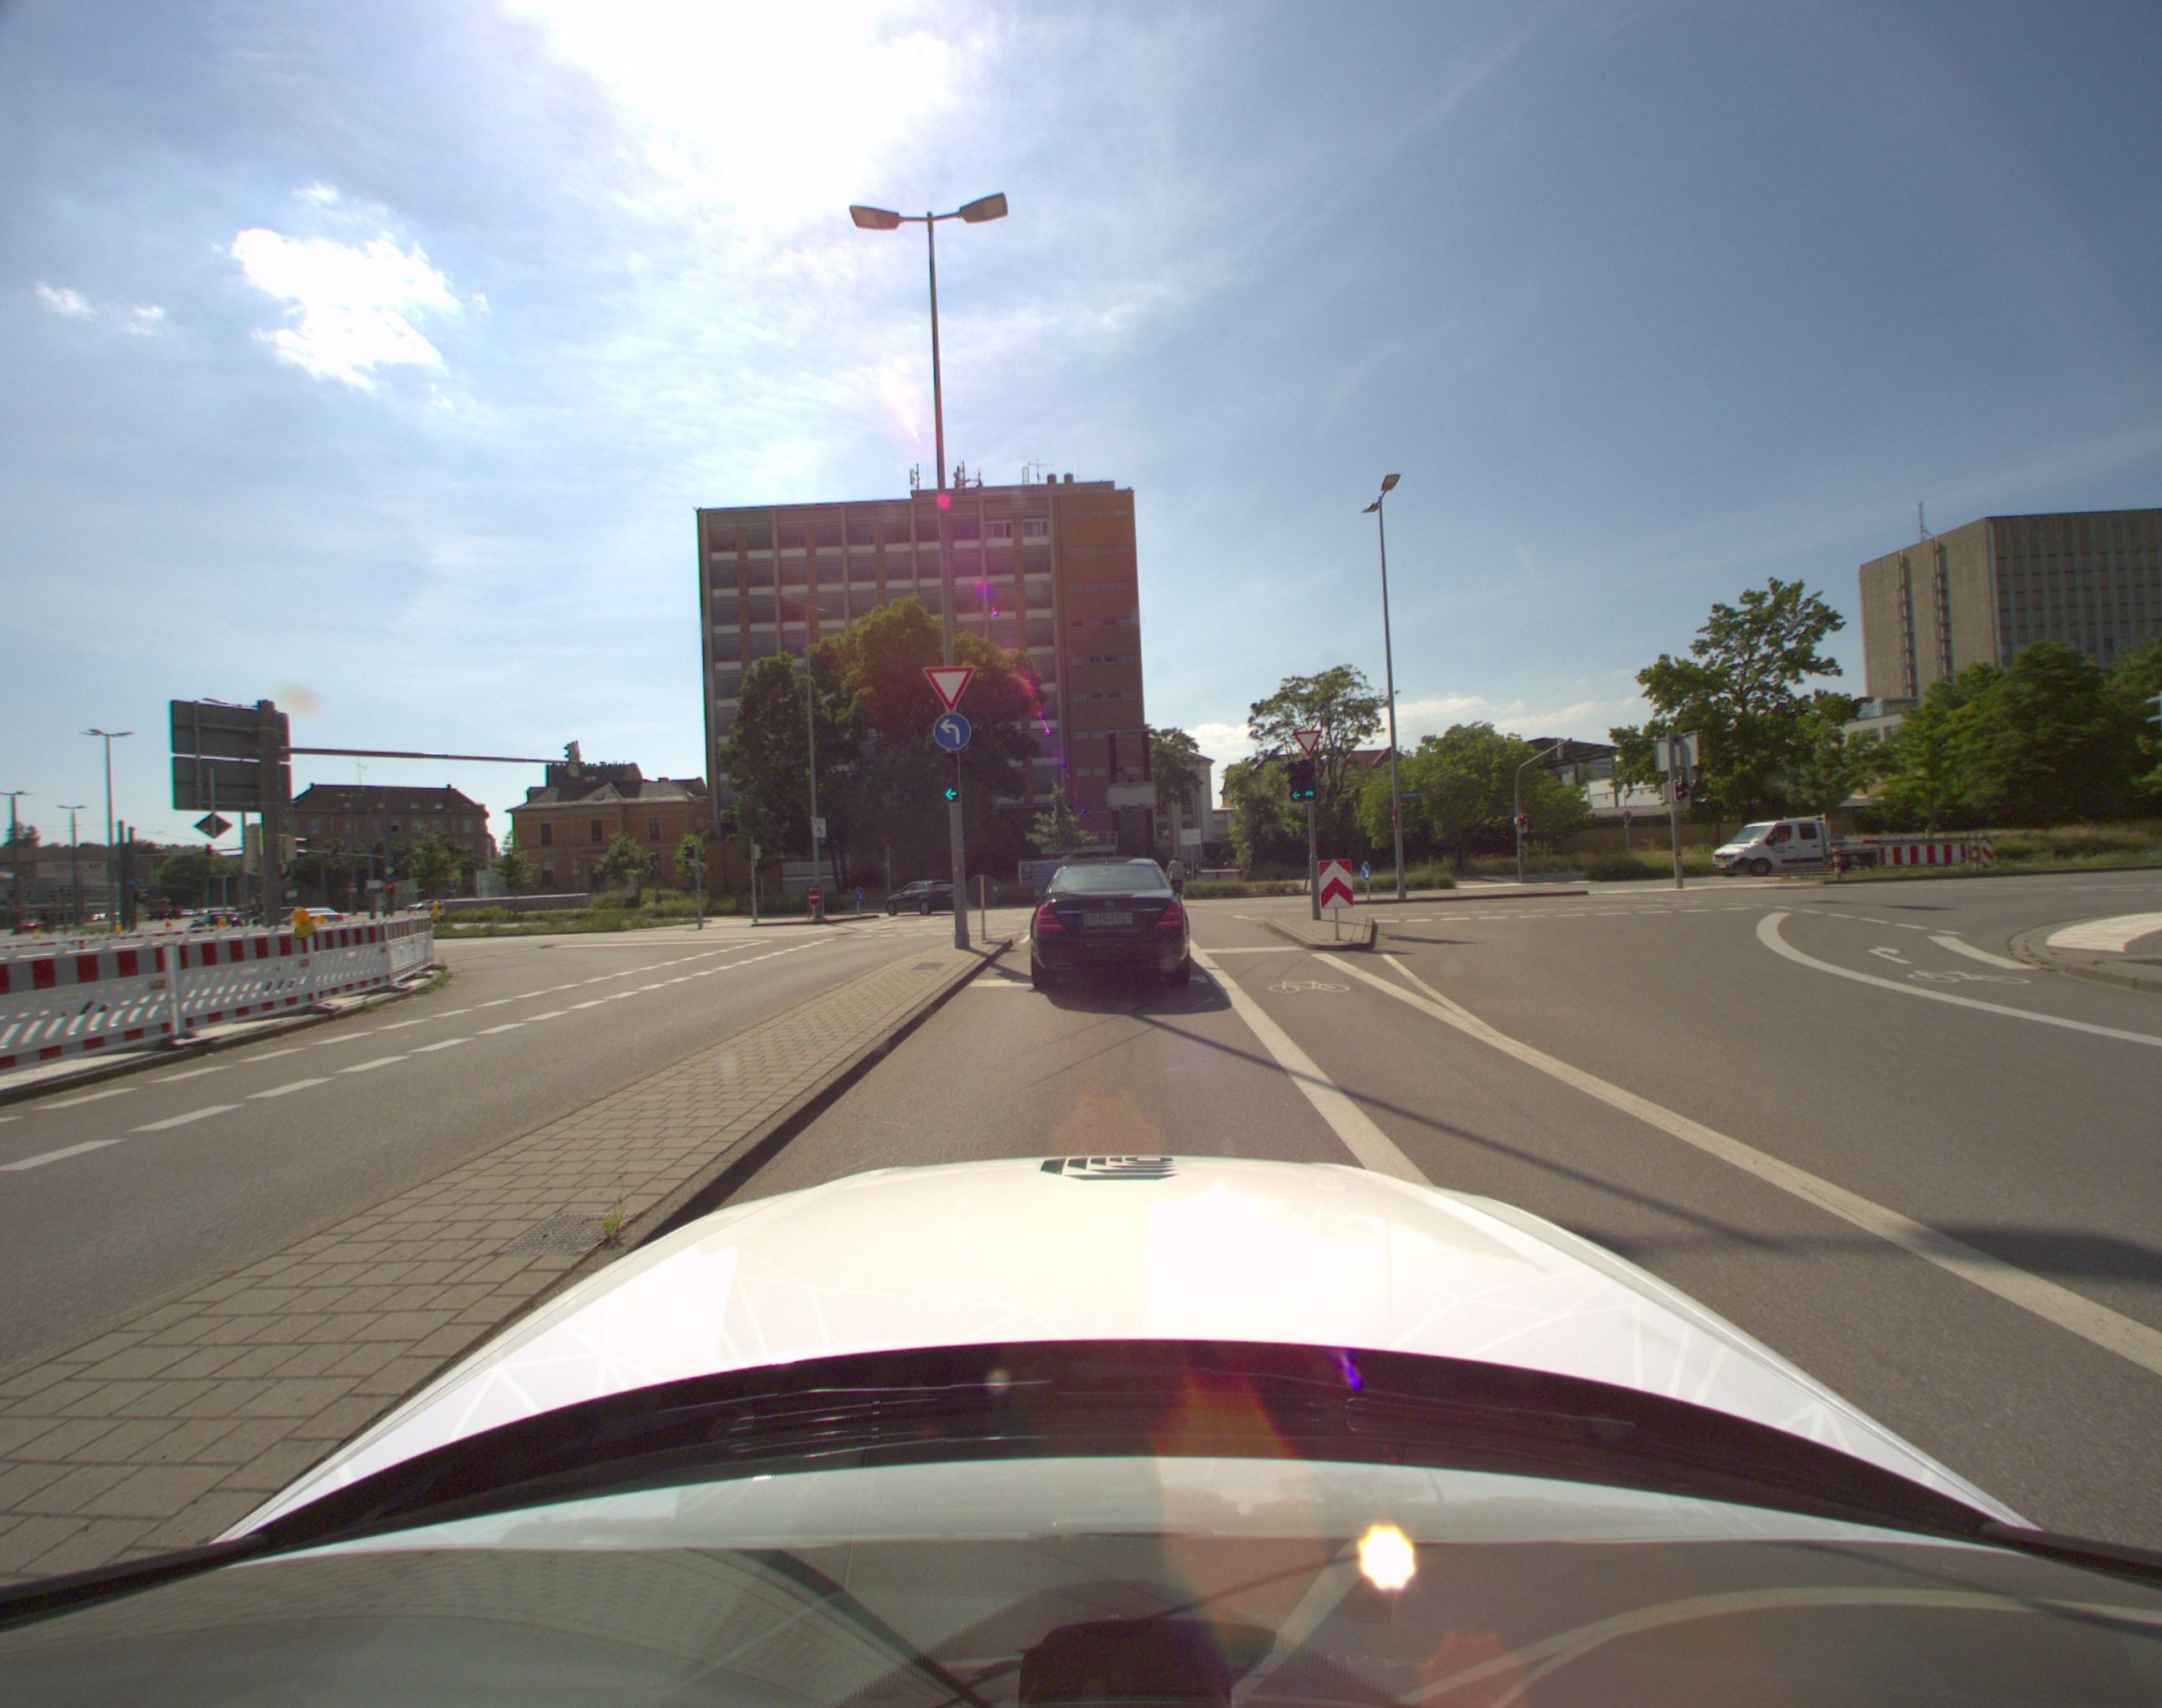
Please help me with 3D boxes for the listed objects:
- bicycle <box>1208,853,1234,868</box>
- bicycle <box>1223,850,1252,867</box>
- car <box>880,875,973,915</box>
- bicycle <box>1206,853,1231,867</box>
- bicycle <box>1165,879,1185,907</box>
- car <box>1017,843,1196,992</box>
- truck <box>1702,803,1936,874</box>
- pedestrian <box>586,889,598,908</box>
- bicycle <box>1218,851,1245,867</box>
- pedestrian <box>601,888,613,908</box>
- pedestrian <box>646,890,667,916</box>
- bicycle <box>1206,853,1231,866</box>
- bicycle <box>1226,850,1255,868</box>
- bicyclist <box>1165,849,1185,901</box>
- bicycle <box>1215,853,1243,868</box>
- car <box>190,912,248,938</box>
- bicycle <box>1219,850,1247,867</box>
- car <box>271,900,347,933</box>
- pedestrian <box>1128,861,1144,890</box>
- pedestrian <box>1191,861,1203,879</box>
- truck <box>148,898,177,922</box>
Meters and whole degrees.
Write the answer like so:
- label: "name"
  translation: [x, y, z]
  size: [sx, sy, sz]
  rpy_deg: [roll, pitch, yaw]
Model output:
- label: "bicycle"
  translation: [16.145, 0.737, 94.240]
  size: [2.813, 1.559, 0.842]
  rpy_deg: [-3, -1, 1]
- label: "bicycle"
  translation: [16.723, 0.465, 87.070]
  size: [2.813, 1.649, 0.842]
  rpy_deg: [-3, -1, 1]
- label: "car"
  translation: [-6.427, 1.711, 33.670]
  size: [1.810, 1.510, 3.950]
  rpy_deg: [0, -3, -45]
- label: "bicycle"
  translation: [16.278, 0.697, 96.435]
  size: [2.813, 1.500, 0.842]
  rpy_deg: [-3, -1, 1]
- label: "bicycle"
  translation: [3.445, 1.405, 29.848]
  size: [0.689, 0.946, 1.961]
  rpy_deg: [-1, -1, 5]
- label: "car"
  translation: [0.393, 0.698, 10.907]
  size: [1.851, 1.530, 4.717]
  rpy_deg: [-1, -1, 3]
- label: "truck"
  translation: [29.697, -0.561, 32.975]
  size: [6.997, 2.356, 2.414]
  rpy_deg: [-3, -2, 2]
- label: "pedestrian"
  translation: [-44.212, 4.030, 73.624]
  size: [0.644, 1.661, 0.652]
  rpy_deg: [-3, -2, 9]
- label: "bicycle"
  translation: [16.489, 0.564, 89.196]
  size: [2.813, 1.587, 0.842]
  rpy_deg: [-3, -1, 1]
- label: "pedestrian"
  translation: [-40.926, 3.797, 70.306]
  size: [0.642, 1.661, 0.654]
  rpy_deg: [-1, -1, 28]
- label: "pedestrian"
  translation: [-28.790, 3.310, 55.225]
  size: [0.790, 1.725, 0.878]
  rpy_deg: [-4, -2, 24]
- label: "bicycle"
  translation: [16.551, 0.671, 97.945]
  size: [2.813, 1.480, 0.842]
  rpy_deg: [-3, -1, 1]
- label: "bicycle"
  translation: [16.797, 0.522, 85.661]
  size: [2.813, 1.744, 0.842]
  rpy_deg: [-3, -1, 1]
- label: "bicyclist"
  translation: [3.444, 0.755, 29.922]
  size: [0.682, 1.878, 0.861]
  rpy_deg: [-1, -1, 5]
- label: "bicycle"
  translation: [16.426, 0.741, 90.331]
  size: [2.813, 1.537, 0.842]
  rpy_deg: [-3, -1, 1]
- label: "car"
  translation: [-55.734, 4.574, 52.628]
  size: [3.948, 1.510, 1.811]
  rpy_deg: [-4, -1, 32]
- label: "bicycle"
  translation: [16.457, 0.485, 88.001]
  size: [2.813, 1.659, 0.842]
  rpy_deg: [-3, 1, 1]
- label: "car"
  translation: [-48.159, 3.885, 50.792]
  size: [3.951, 1.816, 2.011]
  rpy_deg: [-3, -1, 24]
- label: "pedestrian"
  translation: [3.112, 1.231, 45.825]
  size: [0.807, 1.579, 0.693]
  rpy_deg: [-3, -1, 3]
- label: "pedestrian"
  translation: [7.967, 1.118, 55.917]
  size: [0.788, 1.214, 0.759]
  rpy_deg: [-1, -1, 8]
- label: "truck"
  translation: [-150.038, 9.156, 133.020]
  size: [7.827, 3.730, 3.093]
  rpy_deg: [-4, -2, 41]
